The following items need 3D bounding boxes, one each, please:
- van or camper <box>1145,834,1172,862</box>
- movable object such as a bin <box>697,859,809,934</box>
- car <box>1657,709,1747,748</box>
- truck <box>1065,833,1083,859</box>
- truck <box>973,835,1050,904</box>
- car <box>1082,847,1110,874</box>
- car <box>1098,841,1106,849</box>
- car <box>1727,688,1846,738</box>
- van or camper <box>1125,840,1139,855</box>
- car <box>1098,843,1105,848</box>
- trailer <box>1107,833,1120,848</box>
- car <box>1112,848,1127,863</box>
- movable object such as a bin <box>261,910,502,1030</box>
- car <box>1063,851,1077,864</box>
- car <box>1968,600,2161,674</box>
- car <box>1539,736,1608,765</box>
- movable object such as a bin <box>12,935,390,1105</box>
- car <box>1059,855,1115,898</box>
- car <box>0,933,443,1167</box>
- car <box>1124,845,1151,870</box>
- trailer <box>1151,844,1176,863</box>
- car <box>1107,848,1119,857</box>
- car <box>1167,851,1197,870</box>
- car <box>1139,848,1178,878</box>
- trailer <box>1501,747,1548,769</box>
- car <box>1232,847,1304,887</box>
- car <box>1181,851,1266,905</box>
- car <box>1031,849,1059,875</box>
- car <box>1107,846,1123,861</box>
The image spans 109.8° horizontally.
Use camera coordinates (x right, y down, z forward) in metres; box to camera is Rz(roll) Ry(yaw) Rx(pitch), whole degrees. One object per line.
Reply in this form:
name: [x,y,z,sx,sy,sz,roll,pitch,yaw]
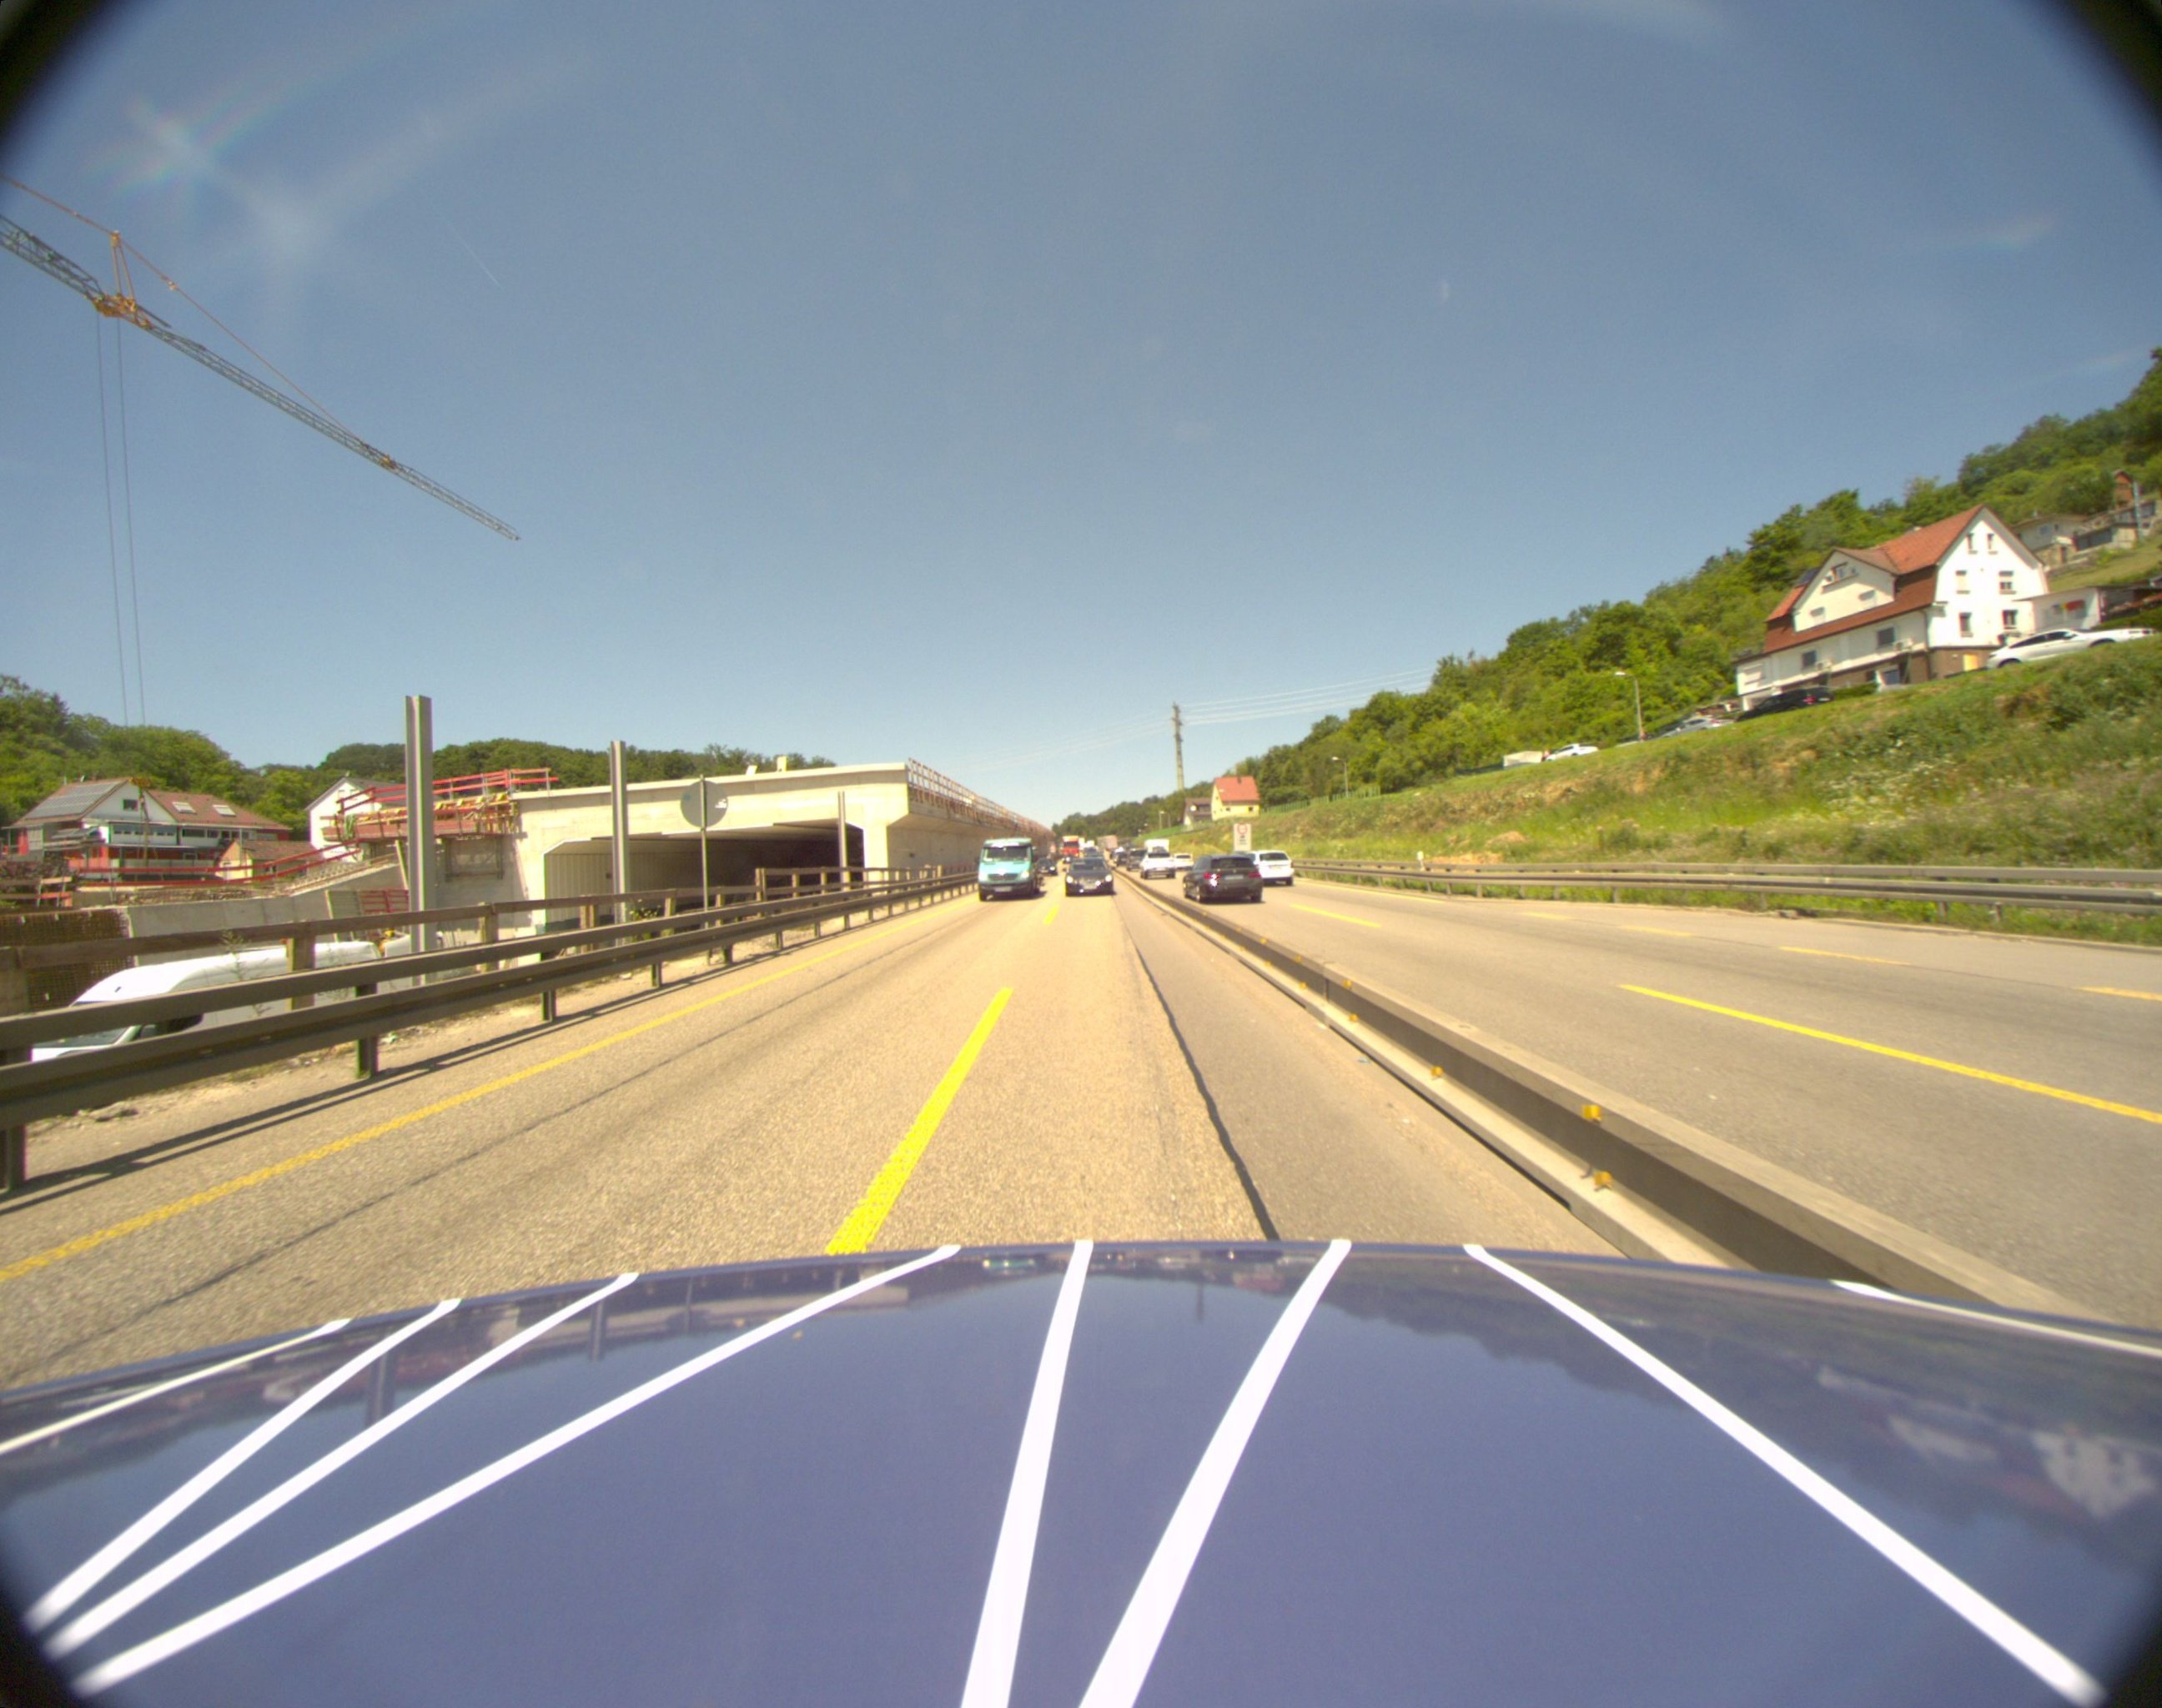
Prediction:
van or camper: [8.780,-0.660,86.628,2.297,3.048,6.923,-2,0,1]
movable object such as a bin: [-20.820,2.527,49.002,2.961,4.040,9.153,-2,2,1]
car: [39.904,-8.038,48.975,1.999,1.861,4.427,-2,2,-5]
truck: [-1.141,-1.452,128.597,2.750,4.222,9.093,-2,2,1]
truck: [-2.590,0.466,30.479,2.139,2.344,7.431,-2,1,1]
car: [1.140,0.476,56.565,1.884,1.805,4.250,-2,2,3]
car: [5.633,-2.391,201.013,1.998,2.002,3.999,-2,2,0]
car: [40.573,-8.067,43.878,2.077,1.997,4.970,-2,2,-4]
van or camper: [9.550,-1.224,142.148,2.145,2.558,6.564,-2,0,1]
car: [6.057,-2.587,227.104,1.807,1.455,3.999,-2,1,1]
trailer: [8.988,-3.840,211.327,2.937,3.966,8.704,-2,1,-1]
car: [4.155,0.172,82.399,1.487,1.496,2.805,-2,0,1]
movable object such as a bin: [-25.138,4.160,27.326,7.141,2.883,3.503,-11,-2,23]
car: [-1.491,0.472,107.048,1.883,1.532,4.280,-2,1,1]
car: [41.502,-9.057,32.087,1.999,1.784,5.008,-2,2,-6]
car: [38.459,-8.056,59.444,2.000,1.646,4.548,-2,2,-9]
movable object such as a bin: [-20.224,3.654,18.031,2.149,2.661,5.500,-2,2,5]
car: [0.263,0.822,30.017,1.998,1.441,4.601,-2,1,1]
car: [-17.477,3.524,15.689,2.149,2.840,7.023,-2,2,4]
car: [4.924,0.269,66.426,1.915,2.002,4.905,-2,1,0]
trailer: [8.748,-0.032,80.685,2.106,1.883,5.141,-2,0,1]
car: [5.377,-0.211,127.642,1.847,1.467,4.834,-2,0,1]
car: [8.311,0.482,62.787,1.814,1.423,4.555,-3,0,1]
car: [4.526,0.482,44.713,1.811,1.630,4.171,-2,0,0]
trailer: [37.715,-8.155,64.634,1.908,1.507,3.034,-2,2,-10]
car: [7.699,0.484,31.672,1.808,1.488,4.599,-1,0,0]
car: [4.211,0.648,23.102,1.802,1.458,4.355,-1,1,1]
car: [-2.781,0.591,60.054,1.885,1.805,4.249,-2,2,1]
car: [4.524,-0.055,101.454,1.842,1.817,5.040,-2,0,0]
